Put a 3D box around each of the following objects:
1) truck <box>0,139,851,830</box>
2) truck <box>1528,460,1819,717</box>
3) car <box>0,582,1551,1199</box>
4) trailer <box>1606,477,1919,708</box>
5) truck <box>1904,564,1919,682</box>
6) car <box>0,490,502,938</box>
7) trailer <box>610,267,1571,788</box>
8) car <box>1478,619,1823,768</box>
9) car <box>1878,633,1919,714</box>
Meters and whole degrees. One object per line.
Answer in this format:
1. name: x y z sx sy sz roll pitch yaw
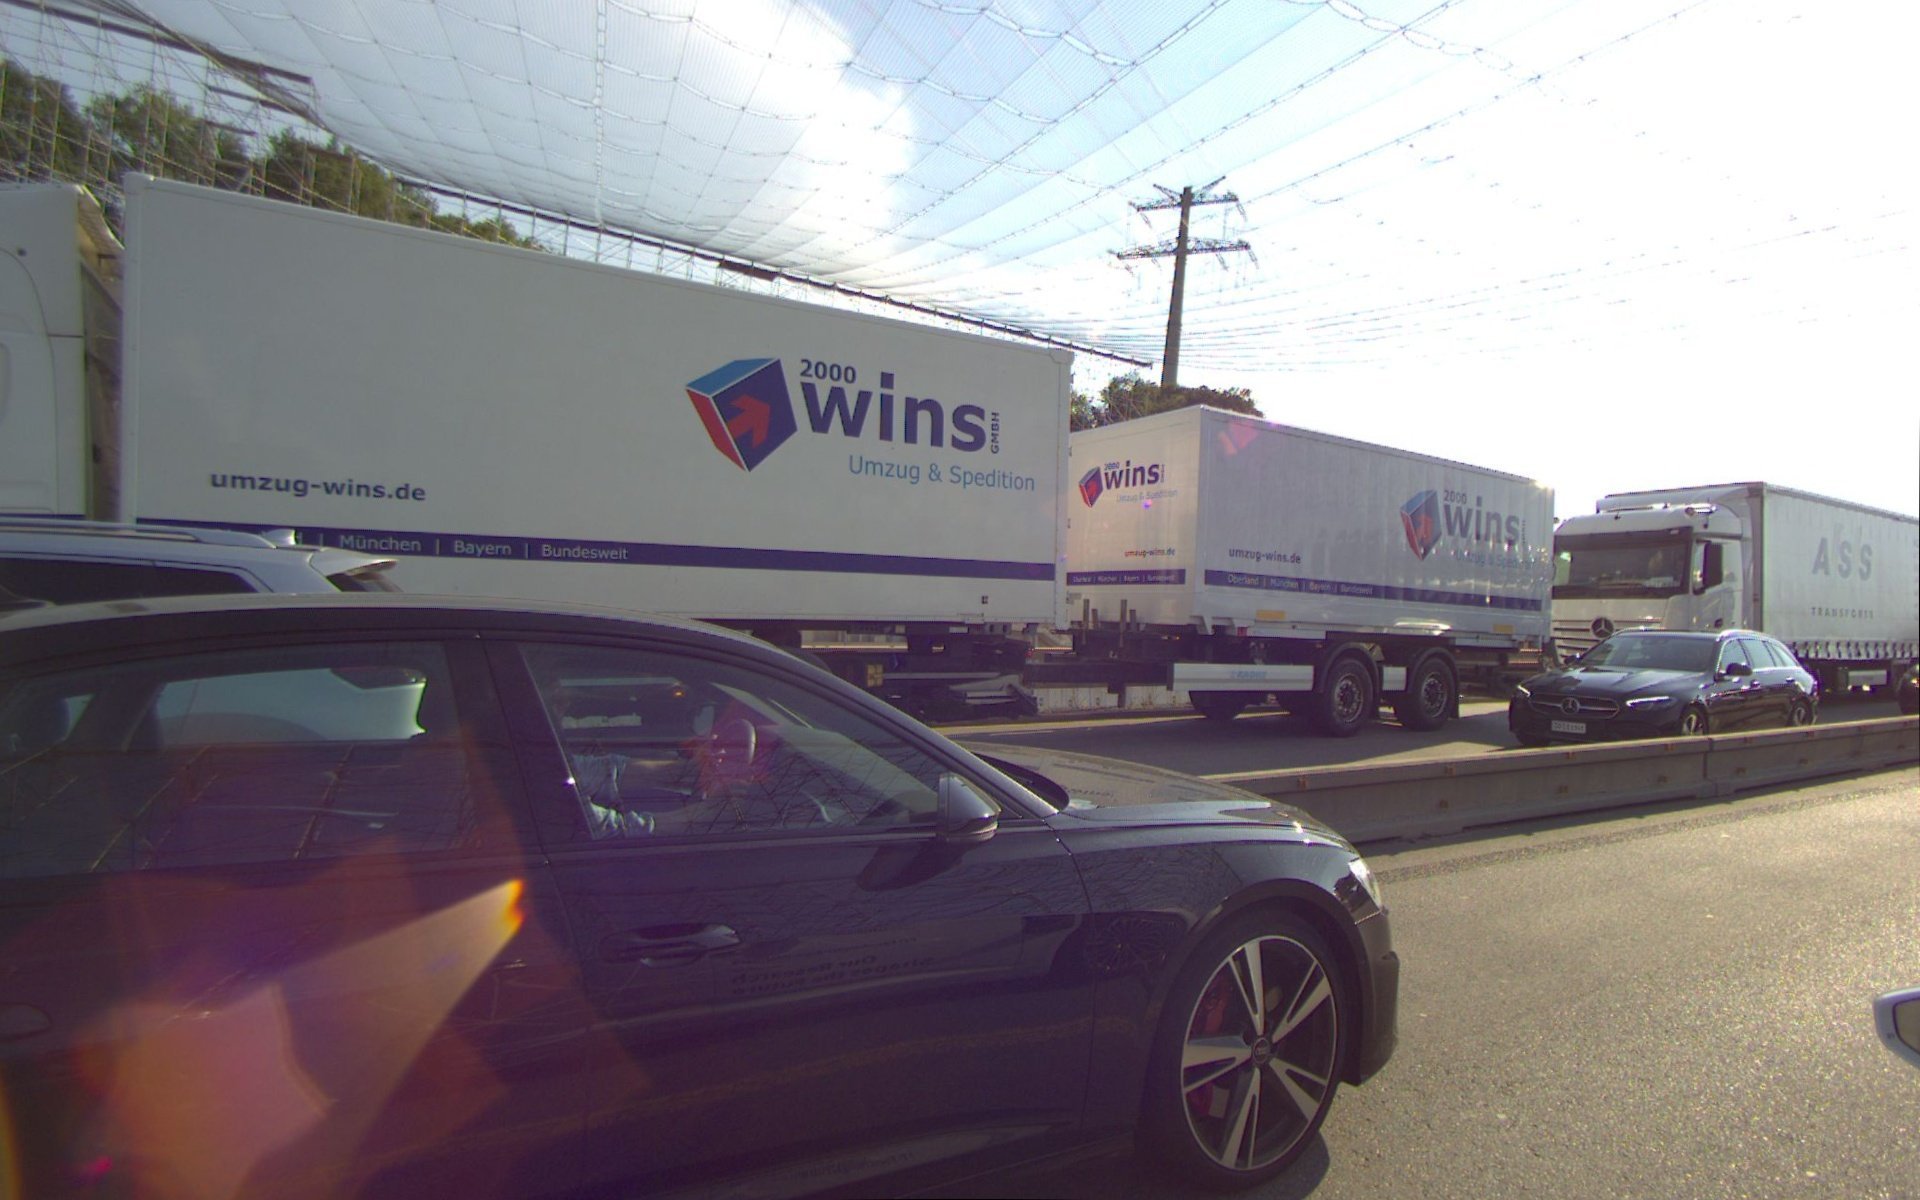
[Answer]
1. truck: -4.680 -0.619 7.801 7.122 3.962 2.617 2 0 -31
2. truck: 13.250 -0.120 18.554 5.557 4.099 2.459 2 0 -33
3. car: -0.884 0.703 2.574 4.901 1.417 1.926 1 0 -29
4. trailer: 19.036 0.060 22.339 13.950 4.016 2.413 2 0 -34
5. truck: 30.597 0.743 29.887 5.558 3.415 2.399 2 0 -33
6. car: -4.323 0.381 4.045 4.317 1.589 1.798 2 0 -32
7. trailer: 2.779 -0.393 12.524 13.187 4.069 2.655 2 0 -32
8. car: 8.431 1.025 12.149 4.612 1.469 1.767 2 0 -32
9. car: 18.508 1.358 18.383 3.859 1.394 1.598 2 0 -33
